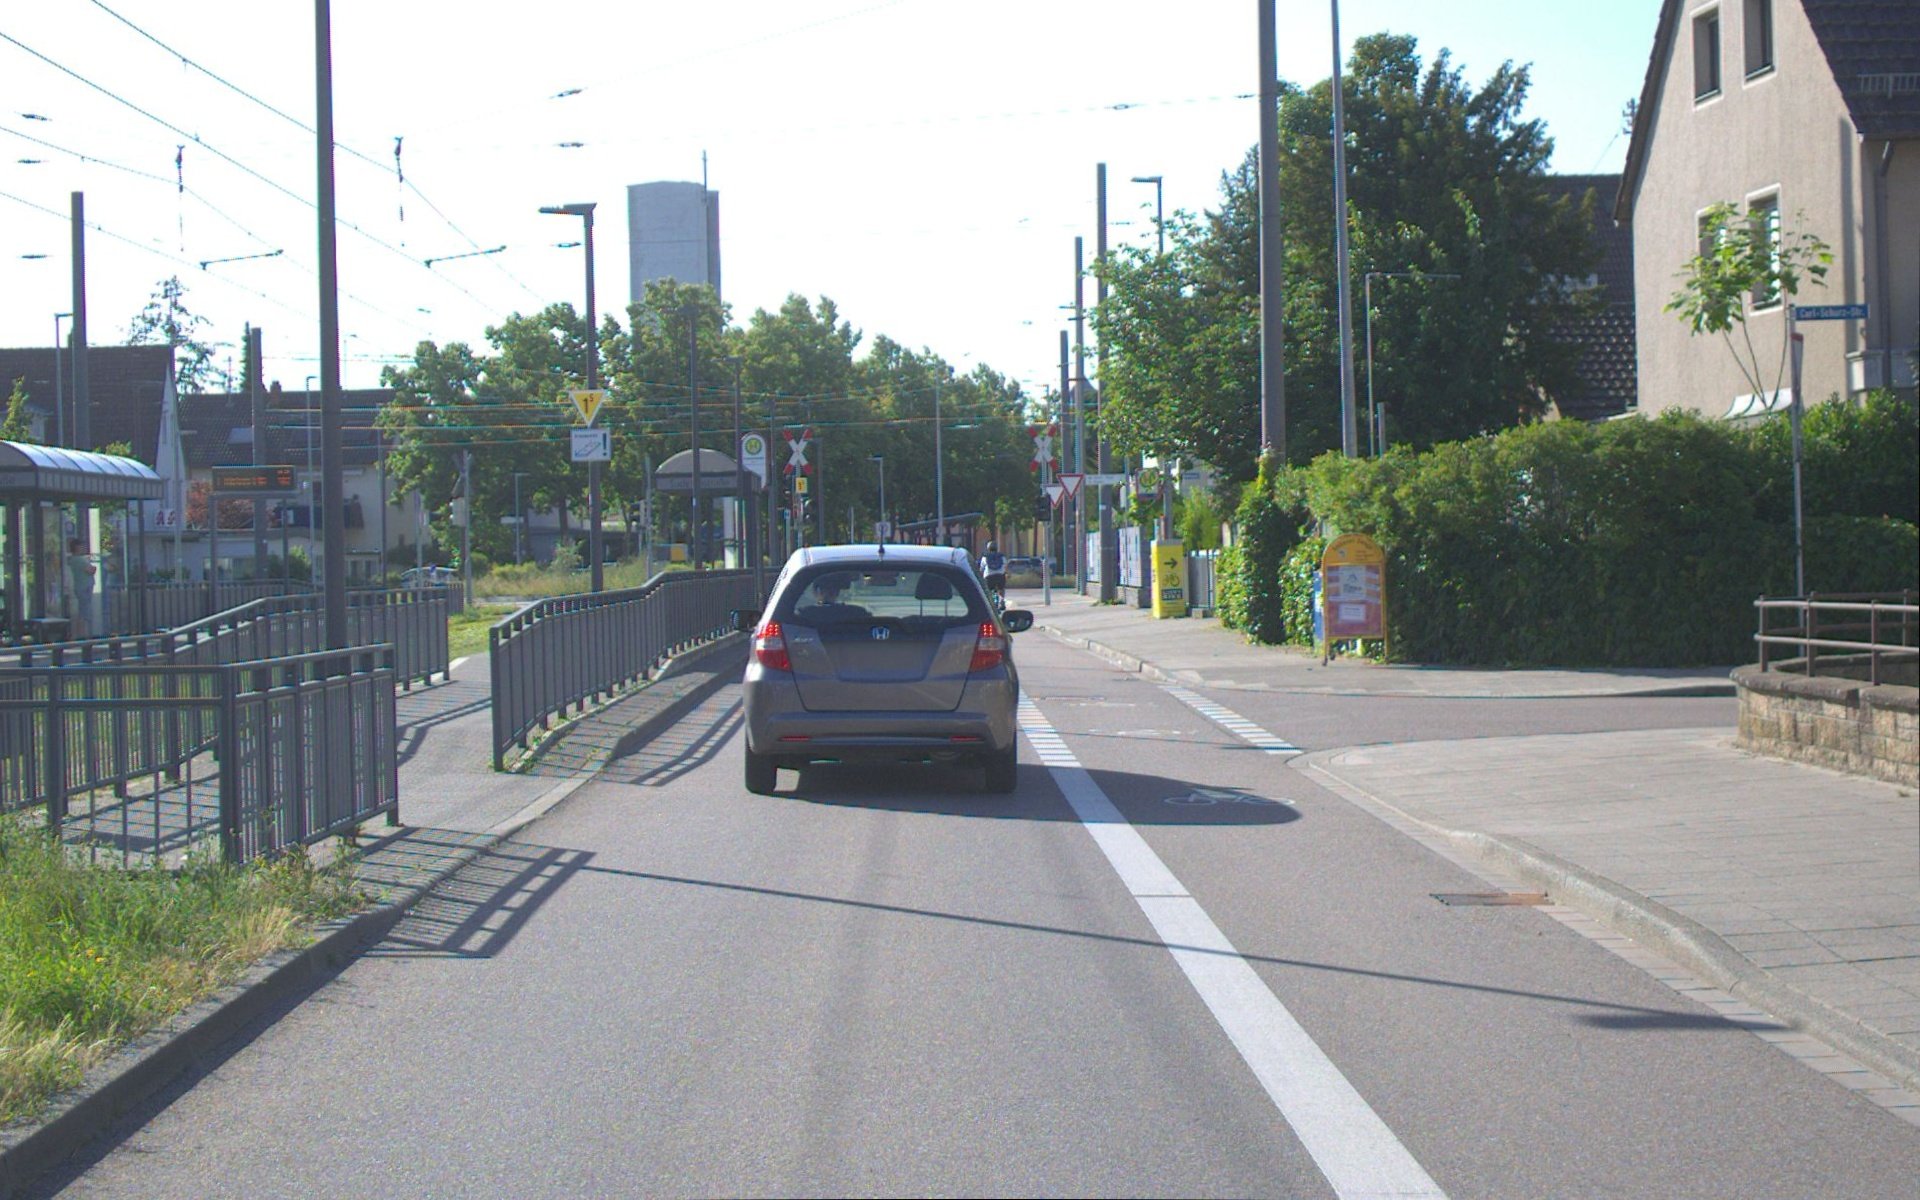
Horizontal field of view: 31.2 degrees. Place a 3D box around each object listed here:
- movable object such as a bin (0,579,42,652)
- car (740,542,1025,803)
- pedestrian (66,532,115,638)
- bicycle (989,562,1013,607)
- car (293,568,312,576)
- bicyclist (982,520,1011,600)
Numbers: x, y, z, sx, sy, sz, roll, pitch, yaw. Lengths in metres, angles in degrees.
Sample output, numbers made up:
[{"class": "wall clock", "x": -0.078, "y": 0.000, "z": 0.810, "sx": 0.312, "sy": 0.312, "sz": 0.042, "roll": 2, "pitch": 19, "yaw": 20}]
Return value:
[{"class": "movable object such as a bin", "x": -13.025, "y": 0.210, "z": 47.407, "sx": 0.546, "sy": 0.984, "sz": 0.741, "roll": -2, "pitch": 1, "yaw": -5}, {"class": "car", "x": -0.502, "y": 0.413, "z": 21.985, "sx": 1.670, "sy": 1.530, "sz": 3.487, "roll": 0, "pitch": 0, "yaw": -2}, {"class": "pedestrian", "x": -14.194, "y": -0.251, "z": 56.147, "sx": 0.500, "sy": 1.690, "sz": 0.771, "roll": -4, "pitch": 1, "yaw": 0}, {"class": "bicycle", "x": 0.880, "y": -0.328, "z": 73.805, "sx": 0.475, "sy": 0.958, "sz": 1.657, "roll": 0, "pitch": 0, "yaw": 0}, {"class": "car", "x": -26.490, "y": -1.134, "z": 138.518, "sx": 0.699, "sy": 0.335, "sz": 0.329, "roll": 0, "pitch": 0, "yaw": 4}, {"class": "bicyclist", "x": 0.783, "y": -0.846, "z": 73.564, "sx": 0.598, "sy": 1.695, "sz": 0.683, "roll": 0, "pitch": 0, "yaw": 0}]
